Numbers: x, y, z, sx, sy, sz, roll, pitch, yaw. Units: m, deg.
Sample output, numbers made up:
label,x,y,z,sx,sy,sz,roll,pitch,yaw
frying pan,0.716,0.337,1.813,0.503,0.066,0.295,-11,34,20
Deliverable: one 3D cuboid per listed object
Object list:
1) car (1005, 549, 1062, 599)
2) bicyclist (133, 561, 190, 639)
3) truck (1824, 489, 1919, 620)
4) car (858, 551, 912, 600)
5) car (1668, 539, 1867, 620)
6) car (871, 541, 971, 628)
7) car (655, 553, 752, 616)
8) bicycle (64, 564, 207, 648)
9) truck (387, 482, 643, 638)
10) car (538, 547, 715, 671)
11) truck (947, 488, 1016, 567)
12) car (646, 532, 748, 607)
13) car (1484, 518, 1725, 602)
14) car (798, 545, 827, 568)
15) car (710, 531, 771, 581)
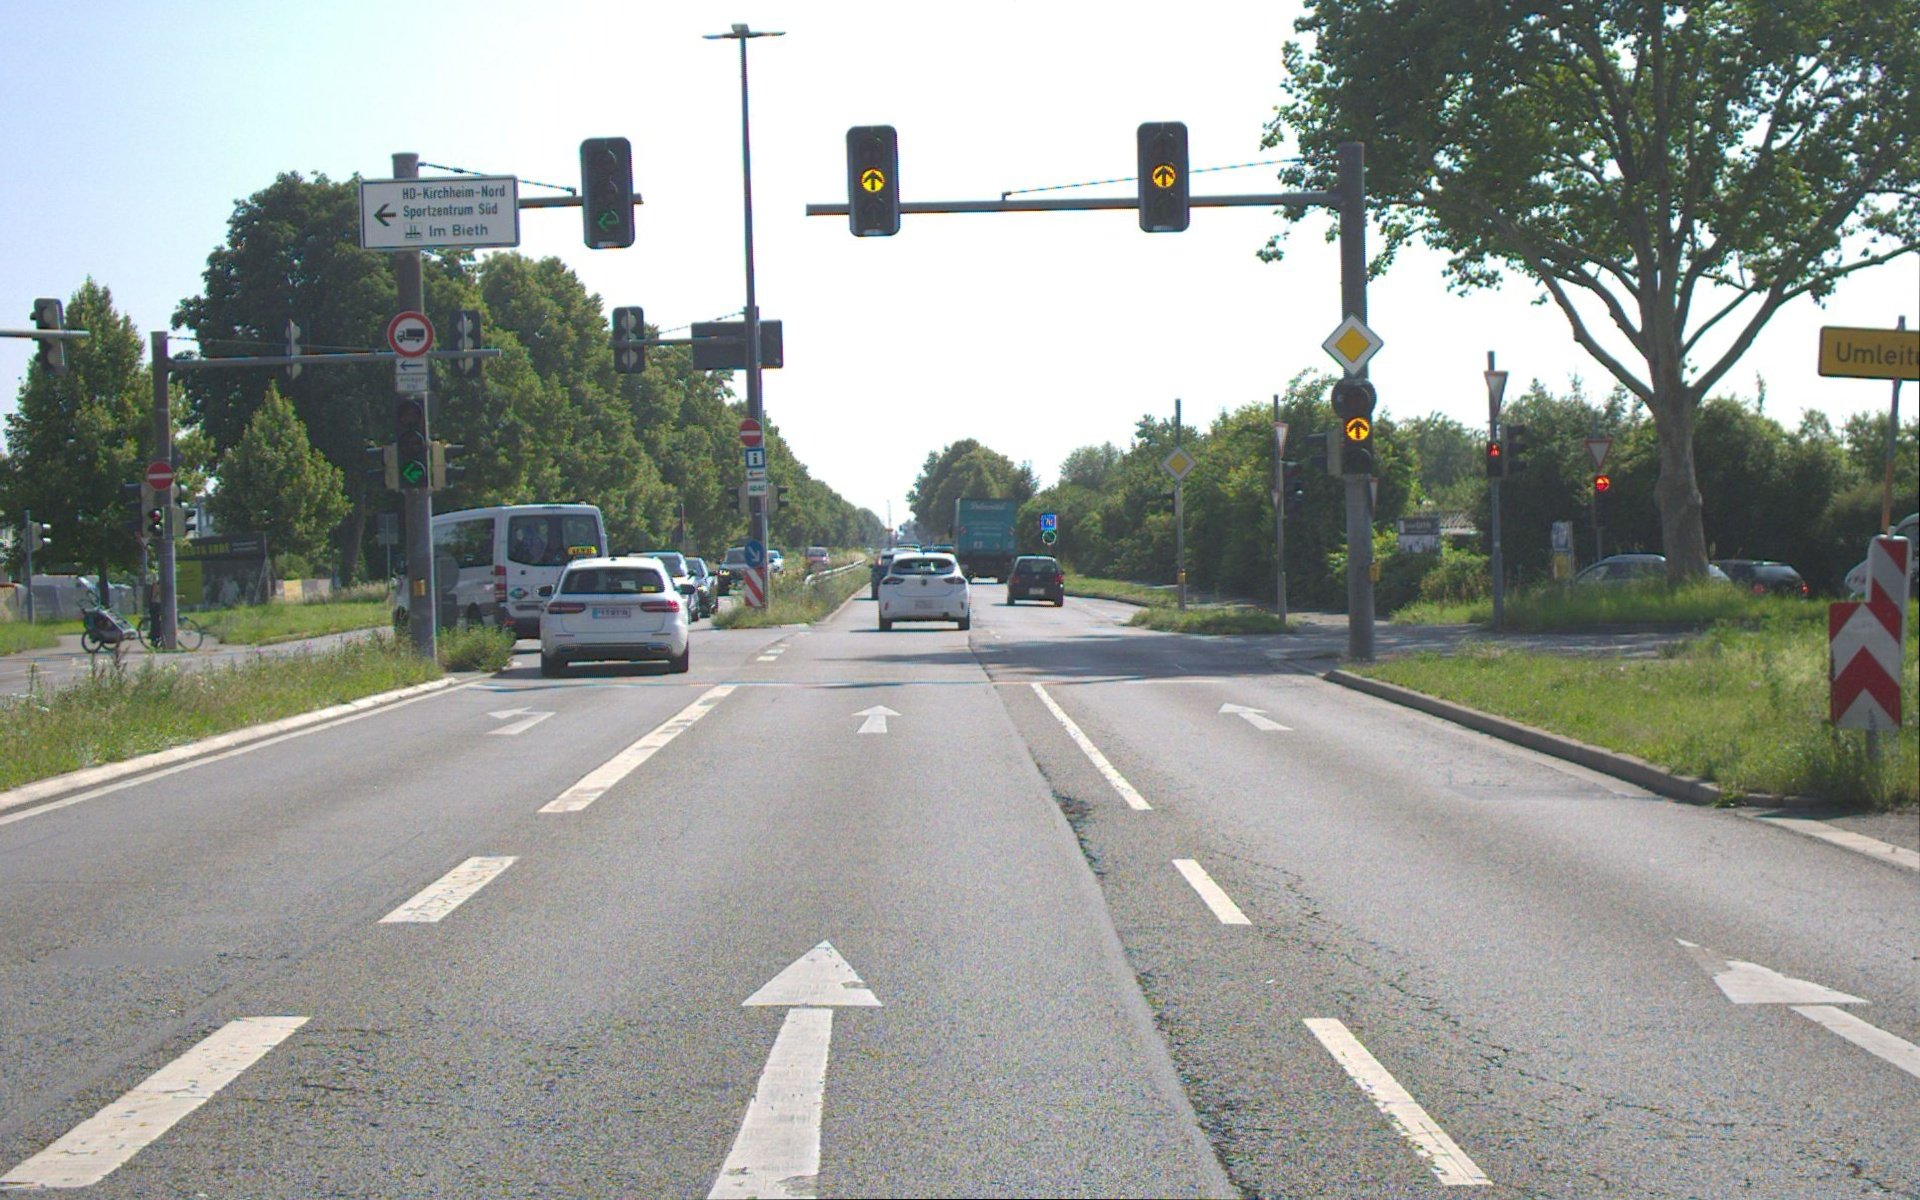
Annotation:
label,x,y,z,sx,sy,sz,roll,pitch,yaw
car,2.127,-0.749,100.261,1.572,1.410,3.277,0,0,0
bicyclist,-16.577,-0.009,71.399,0.863,1.613,0.757,0,1,28
truck,19.021,-0.817,62.656,2.338,2.378,6.475,1,-1,-33
car,-2.278,-0.772,105.156,1.572,1.409,3.278,-1,1,0
car,15.912,-0.394,67.882,1.616,1.542,3.825,1,0,-30
car,-0.707,-0.317,64.397,1.799,1.547,4.000,0,1,0
car,-6.276,-0.401,84.692,1.817,1.480,4.893,0,1,2
bicycle,-17.226,0.120,71.838,2.796,1.664,1.134,-1,1,27
truck,-7.426,-0.673,56.699,2.373,2.380,6.042,-2,2,-25
car,-4.252,0.077,44.462,1.812,1.459,4.971,-2,1,-1
truck,0.928,-3.272,155.211,2.891,3.417,9.170,-1,1,0
car,-5.927,-0.691,77.889,2.010,1.604,4.211,-2,1,-1
car,12.301,-0.758,65.909,1.993,1.542,4.617,-1,1,-30
car,-10.136,-2.972,236.680,1.912,1.497,4.091,-1,1,-2
car,-7.488,-1.517,117.659,1.847,1.589,4.617,-2,1,-1
